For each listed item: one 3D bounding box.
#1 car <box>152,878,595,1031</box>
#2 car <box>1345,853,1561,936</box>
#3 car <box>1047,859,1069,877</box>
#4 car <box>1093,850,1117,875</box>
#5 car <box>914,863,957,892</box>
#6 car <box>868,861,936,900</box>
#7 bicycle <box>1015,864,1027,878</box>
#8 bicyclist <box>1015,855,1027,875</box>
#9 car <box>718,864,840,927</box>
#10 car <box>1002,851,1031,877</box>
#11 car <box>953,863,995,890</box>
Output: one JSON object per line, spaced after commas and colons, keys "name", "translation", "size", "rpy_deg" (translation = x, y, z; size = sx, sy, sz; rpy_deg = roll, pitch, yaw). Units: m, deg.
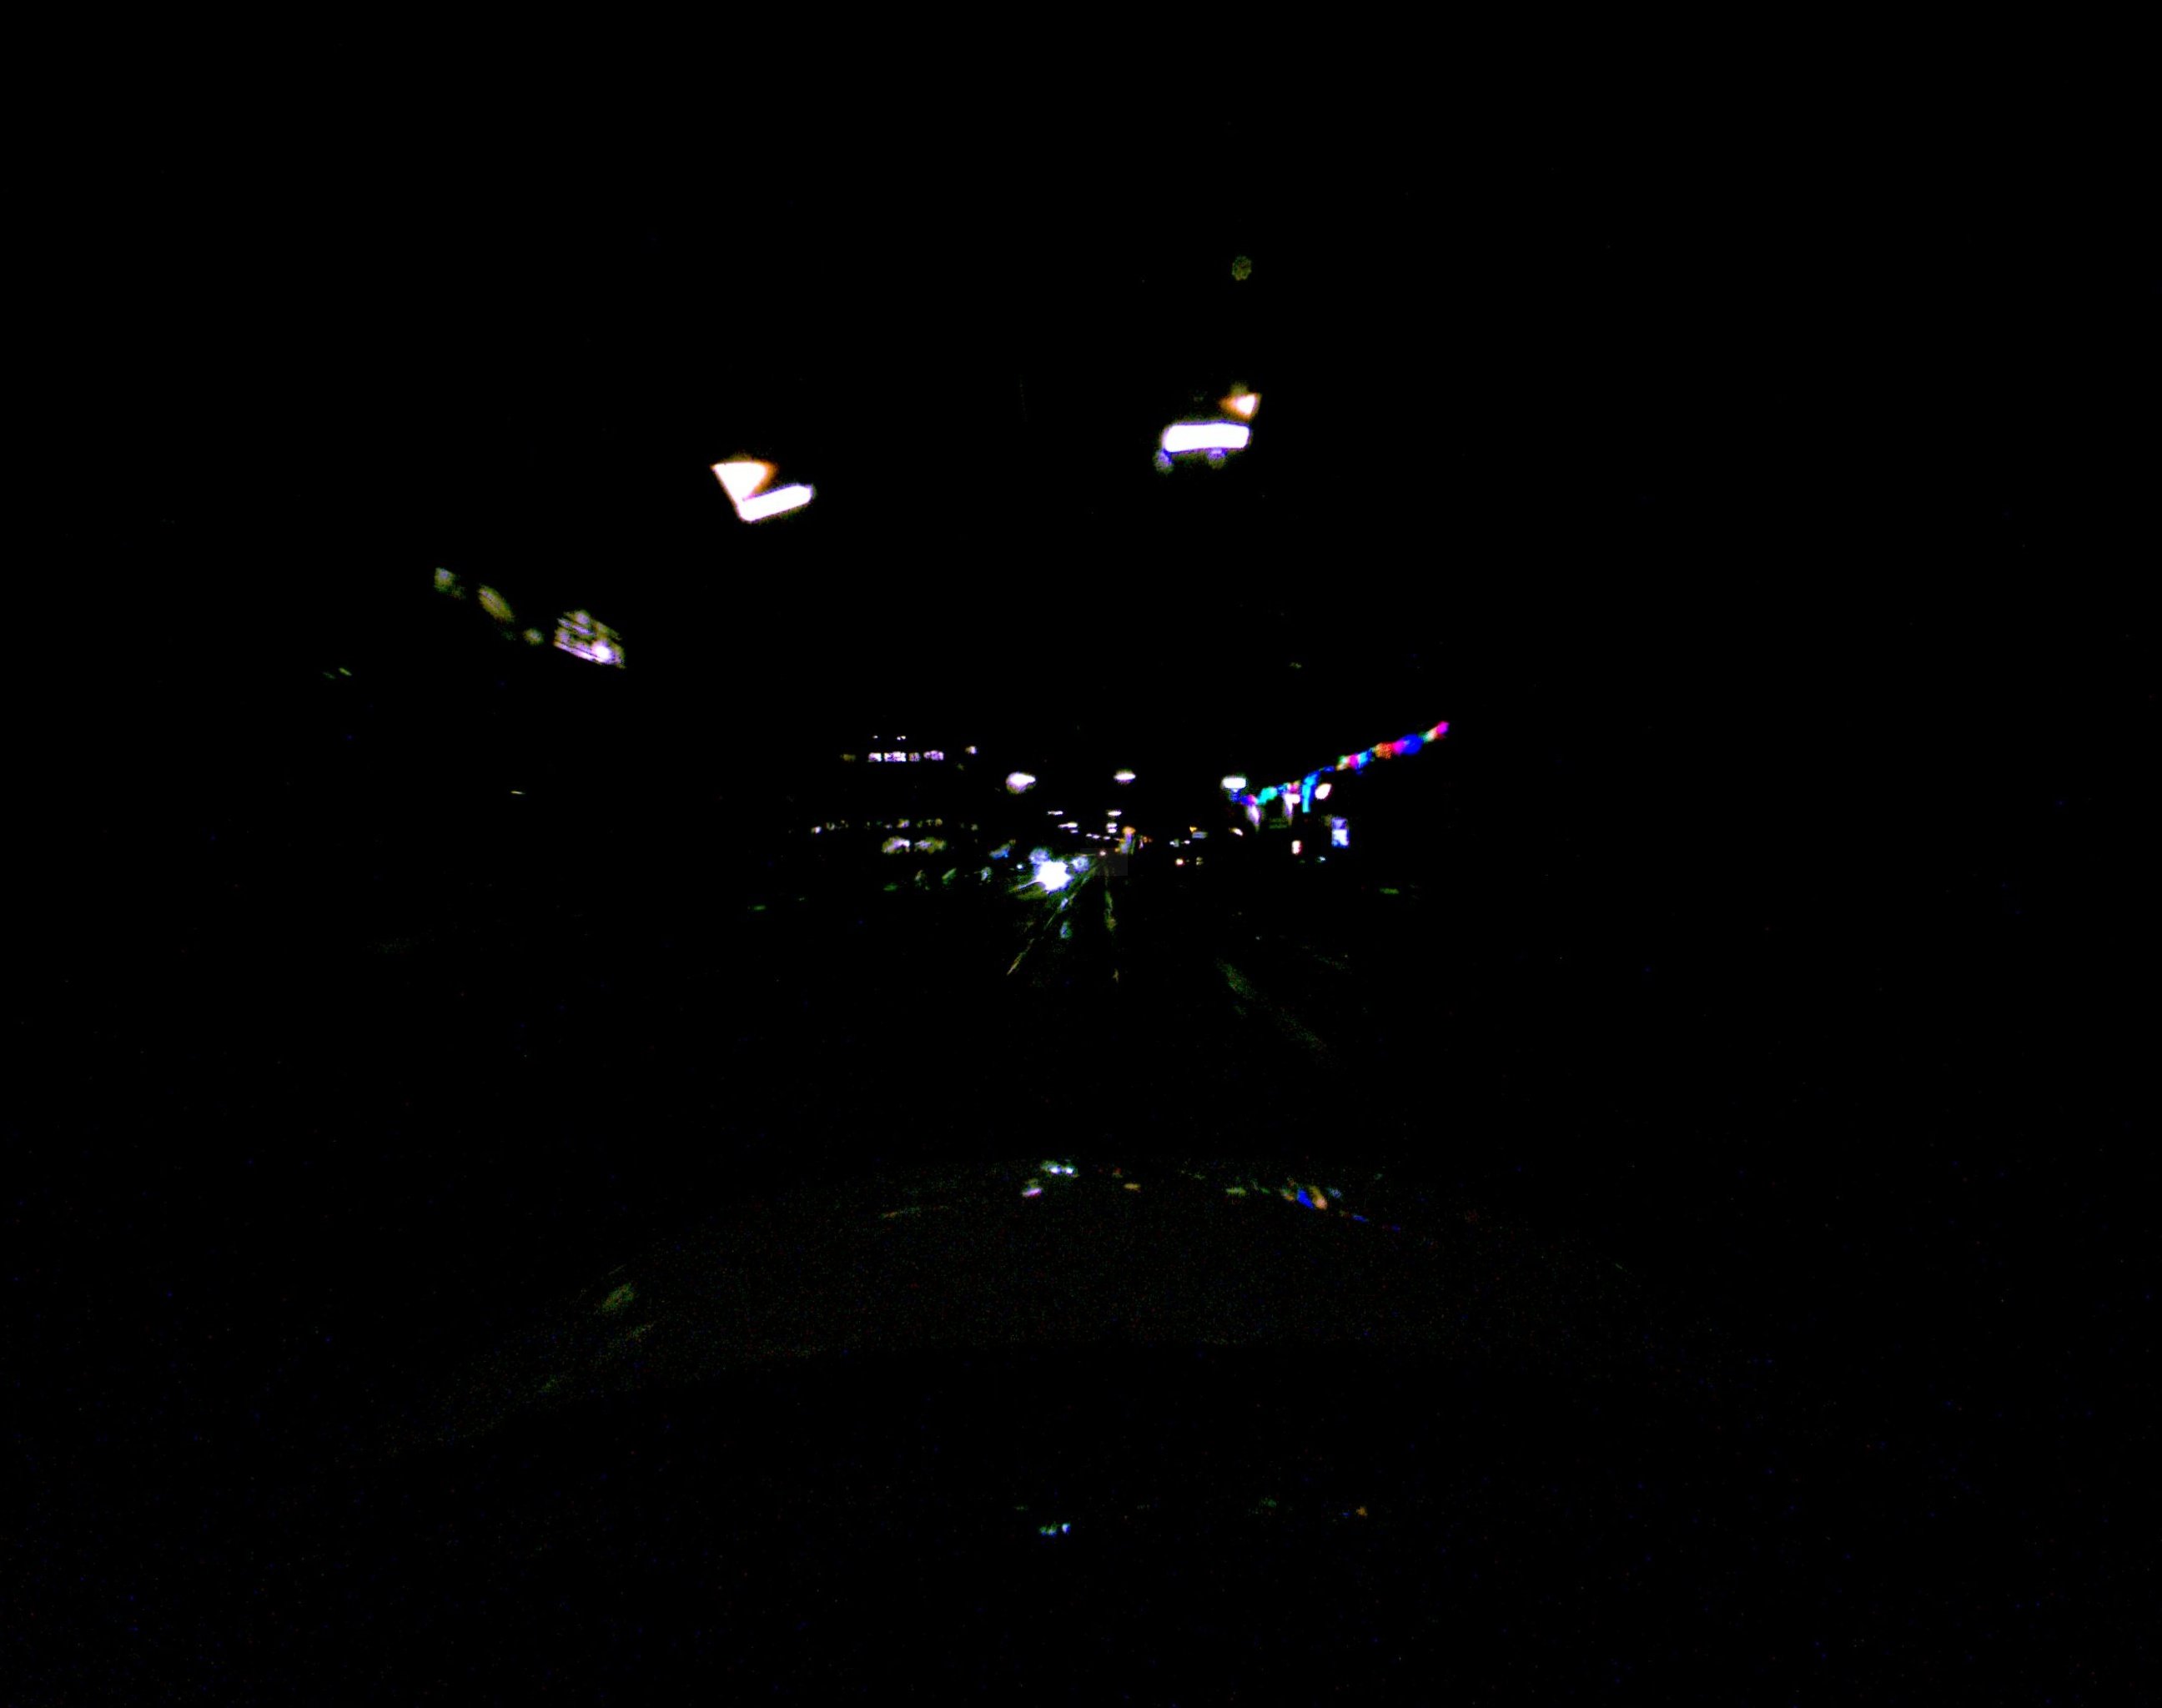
{"name": "car", "translation": [-9.012, 1.135, 11.162], "size": [1.883, 1.463, 4.954], "rpy_deg": [-2, 0, -3]}
{"name": "car", "translation": [7.906, 0.797, 17.310], "size": [4.111, 1.537, 1.945], "rpy_deg": [-1, -1, -24]}
{"name": "car", "translation": [-2.091, 1.275, 74.847], "size": [1.769, 1.517, 4.052], "rpy_deg": [-1, 0, 2]}
{"name": "car", "translation": [2.361, 0.850, 80.011], "size": [2.237, 2.361, 4.393], "rpy_deg": [-1, -1, 0]}
{"name": "car", "translation": [-7.838, 1.228, 44.095], "size": [1.686, 1.421, 3.912], "rpy_deg": [-2, 0, -2]}
{"name": "car", "translation": [-8.100, 1.164, 37.278], "size": [1.976, 1.631, 4.518], "rpy_deg": [-1, -1, 1]}
{"name": "bicycle", "translation": [-5.135, 1.456, 69.835], "size": [0.779, 1.082, 1.919], "rpy_deg": [-3, -1, 2]}
{"name": "bicyclist", "translation": [-5.165, 0.911, 69.847], "size": [0.779, 1.655, 1.206], "rpy_deg": [-3, -1, 1]}
{"name": "car", "translation": [-8.477, 1.102, 23.308], "size": [1.875, 1.545, 4.396], "rpy_deg": [2, -1, -1]}
{"name": "car", "translation": [-6.816, 1.041, 86.737], "size": [2.176, 2.591, 6.398], "rpy_deg": [-1, 0, 4]}
{"name": "car", "translation": [-7.218, 1.490, 55.357], "size": [1.961, 1.655, 4.604], "rpy_deg": [1, 0, 3]}
